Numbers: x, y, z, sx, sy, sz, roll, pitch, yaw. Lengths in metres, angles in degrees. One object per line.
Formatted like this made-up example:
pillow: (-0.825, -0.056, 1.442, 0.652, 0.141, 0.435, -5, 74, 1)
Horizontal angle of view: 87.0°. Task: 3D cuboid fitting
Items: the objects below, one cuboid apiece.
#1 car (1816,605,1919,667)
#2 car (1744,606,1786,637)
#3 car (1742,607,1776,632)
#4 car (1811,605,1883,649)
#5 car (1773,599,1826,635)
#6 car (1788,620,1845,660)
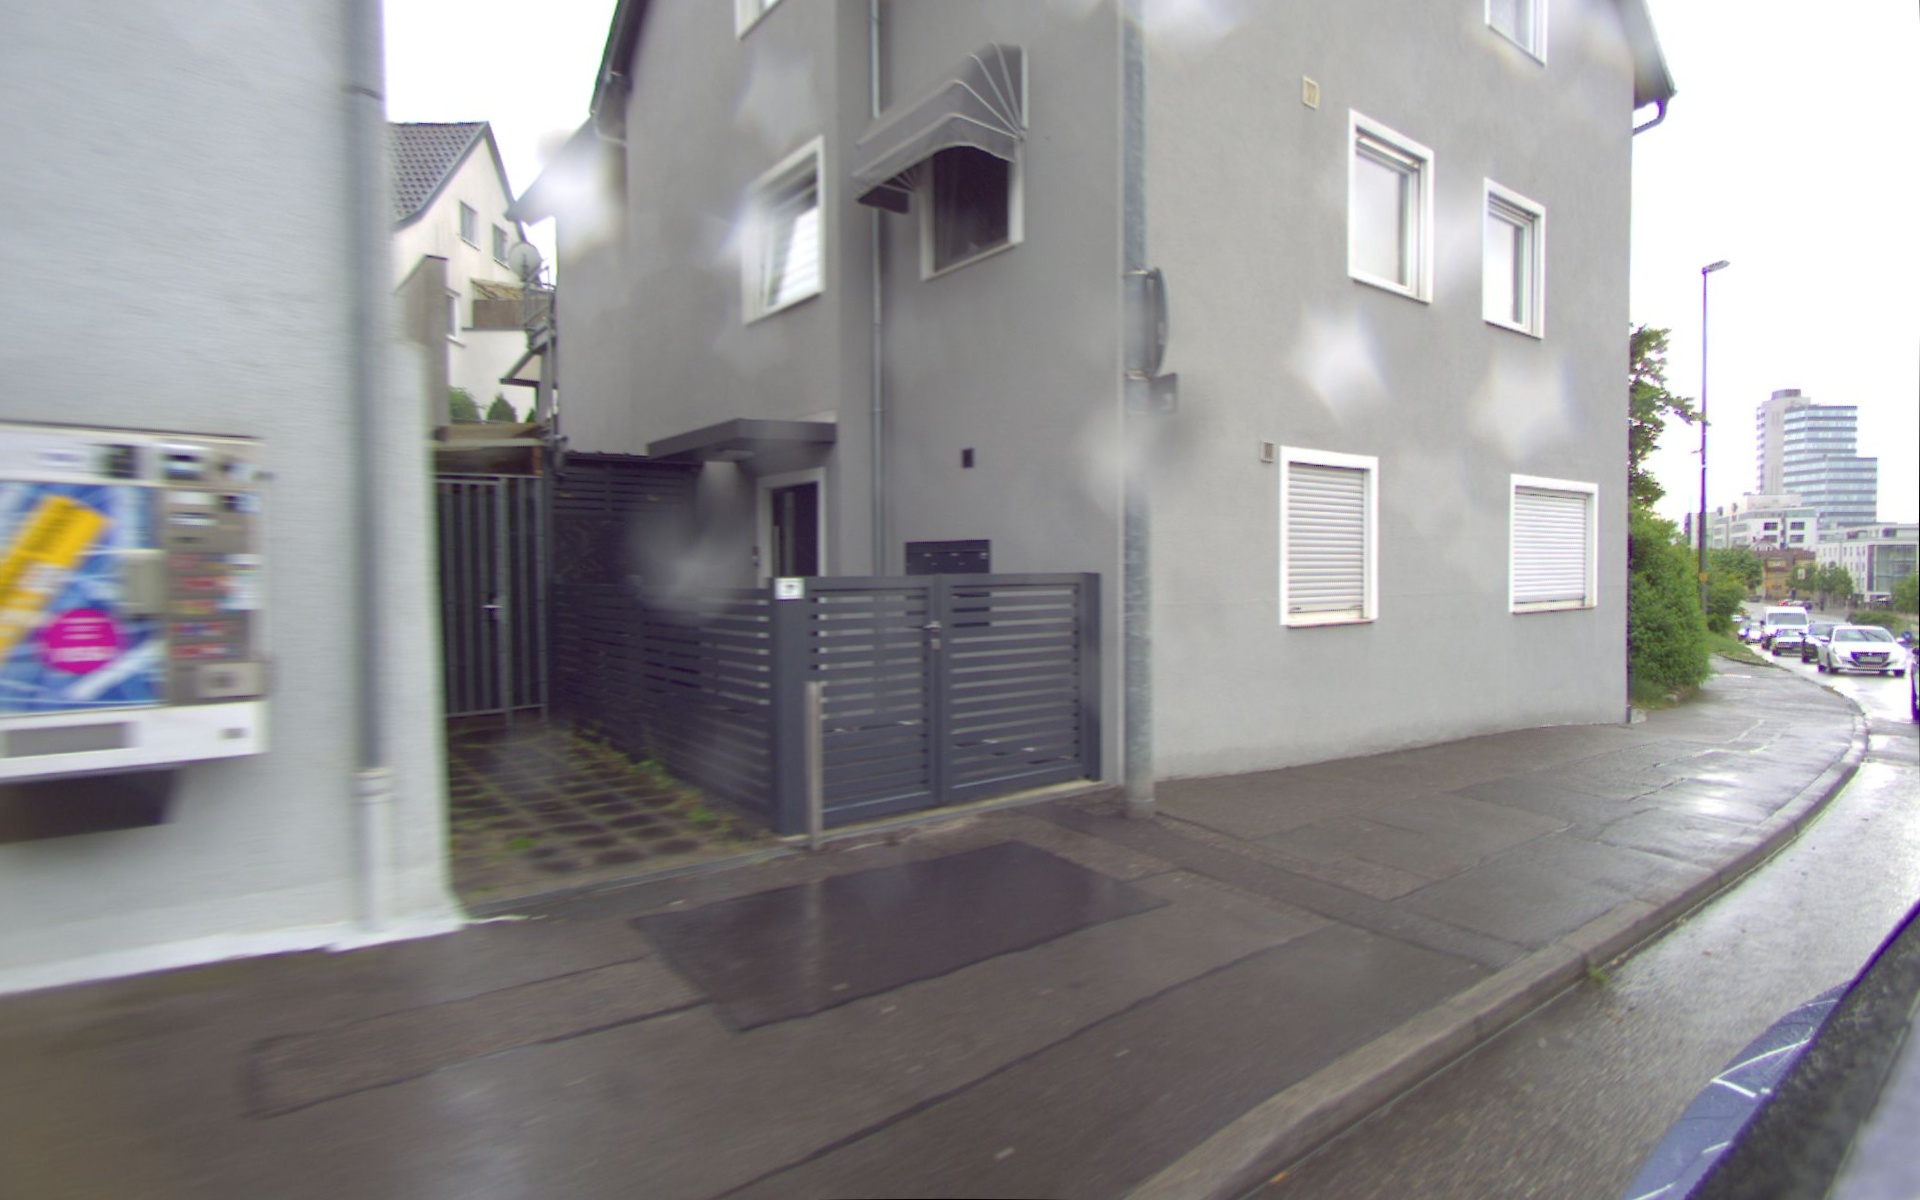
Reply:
car: (27.707, 1.053, 30.865, 1.889, 1.680, 4.883, -2, -1, 34)
car: (54.855, 1.490, 69.024, 2.019, 1.961, 4.879, 0, -2, 36)
car: (65.990, 1.612, 83.655, 2.019, 1.961, 4.879, 0, -2, 36)
car: (33.782, 1.031, 38.634, 1.893, 1.515, 4.873, 1, -1, 39)
car: (48.093, 1.024, 58.061, 2.019, 1.961, 4.879, 0, -2, 36)
car: (40.334, 1.857, 47.739, 1.892, 1.745, 4.401, 0, -2, 38)
